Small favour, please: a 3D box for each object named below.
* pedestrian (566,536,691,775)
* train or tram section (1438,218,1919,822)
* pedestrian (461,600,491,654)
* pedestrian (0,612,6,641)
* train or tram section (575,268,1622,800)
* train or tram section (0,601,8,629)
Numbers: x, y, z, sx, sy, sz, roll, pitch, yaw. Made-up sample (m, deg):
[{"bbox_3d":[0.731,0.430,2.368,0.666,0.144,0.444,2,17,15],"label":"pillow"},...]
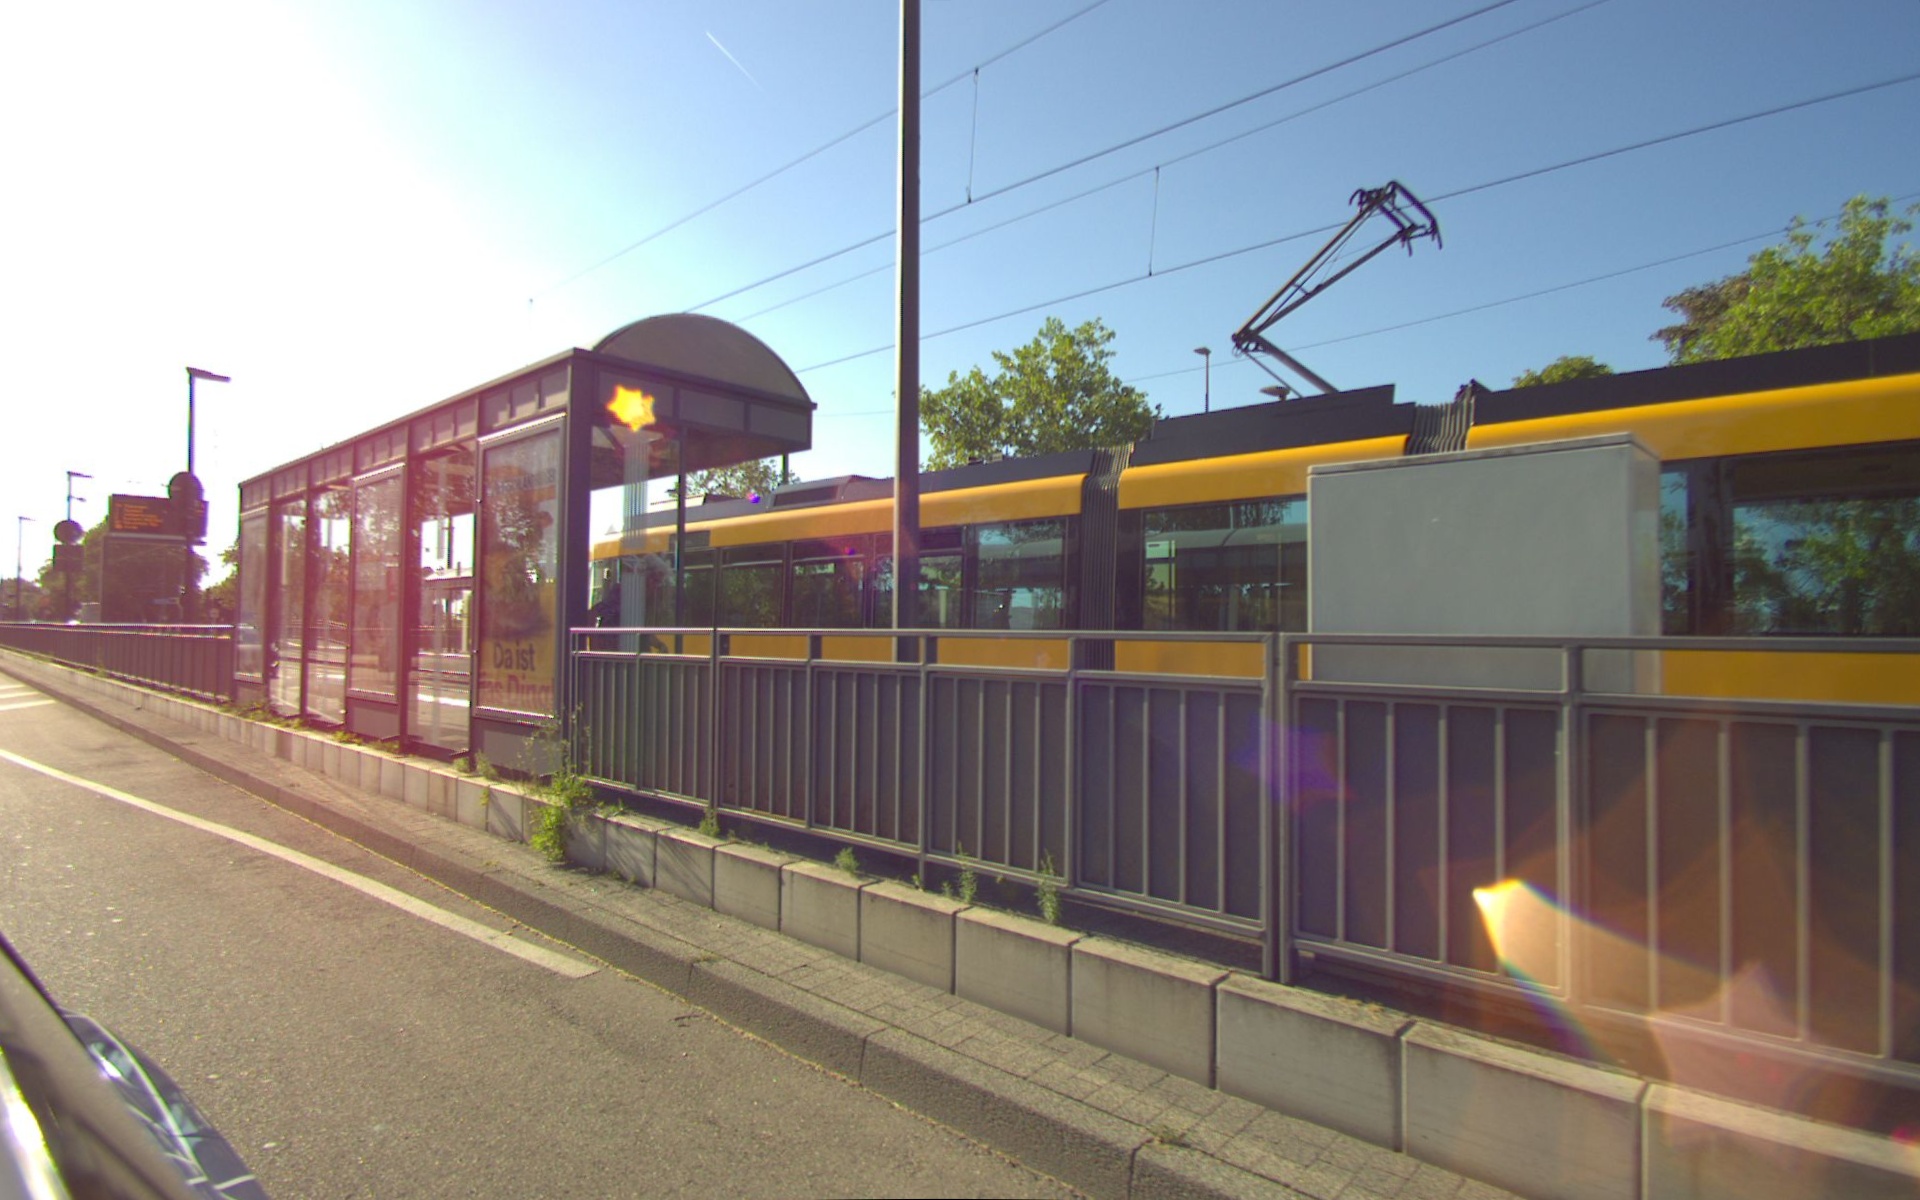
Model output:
[{"bbox_3d":[-2.204,0.352,6.805,0.749,1.504,0.696,0,-1,-14],"label":"pedestrian"},{"bbox_3d":[9.525,-0.550,4.705,12.970,3.715,2.796,-1,-1,44],"label":"train or tram section"},{"bbox_3d":[-16.131,0.904,33.730,0.697,1.770,0.583,-1,-1,26],"label":"pedestrian"},{"bbox_3d":[-55.486,1.512,58.060,0.985,1.657,0.881,-1,-2,37],"label":"pedestrian"},{"bbox_3d":[-0.381,-0.368,14.172,15.877,4.036,2.796,-1,-1,44],"label":"train or tram section"},{"bbox_3d":[-139.694,2.196,145.803,12.113,3.977,2.852,-1,-2,43],"label":"train or tram section"}]
